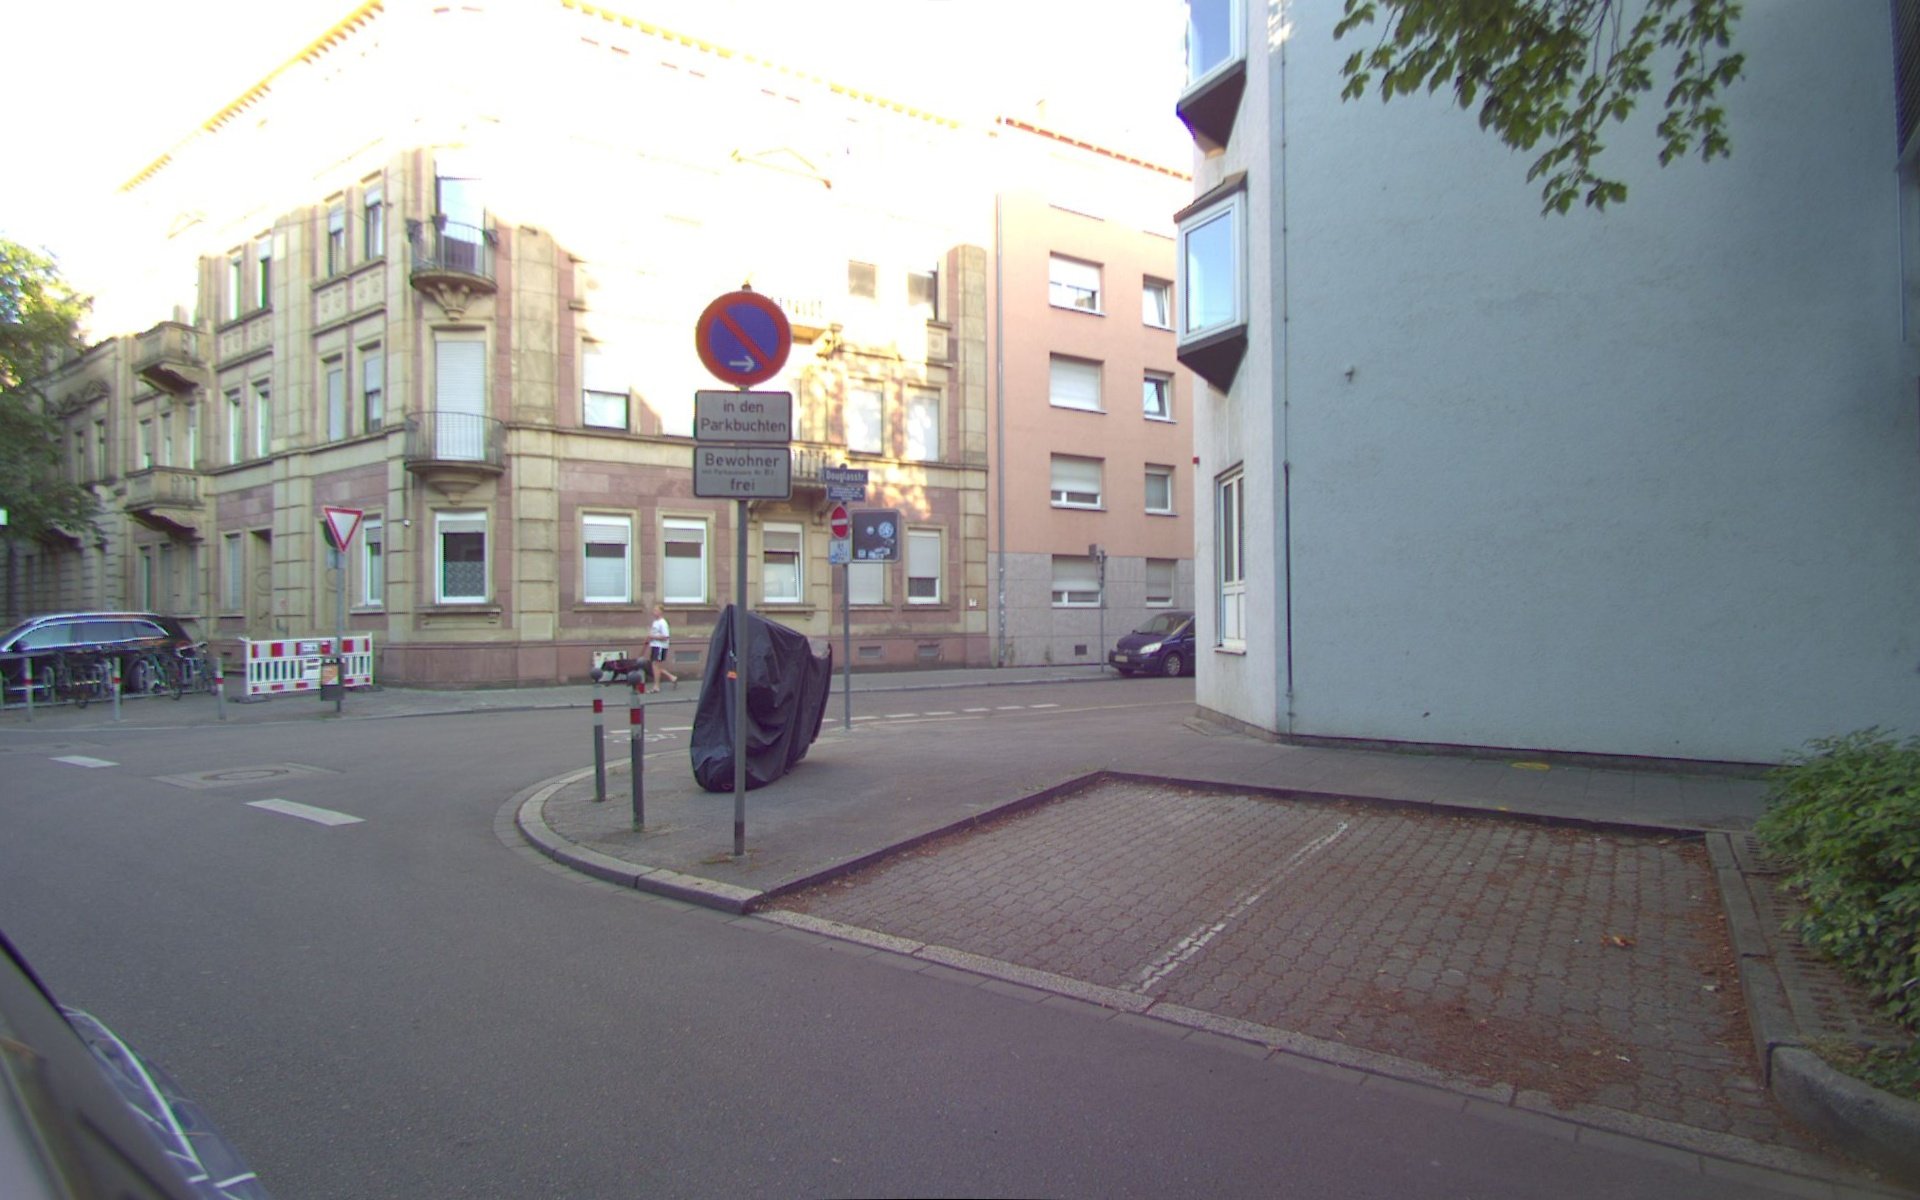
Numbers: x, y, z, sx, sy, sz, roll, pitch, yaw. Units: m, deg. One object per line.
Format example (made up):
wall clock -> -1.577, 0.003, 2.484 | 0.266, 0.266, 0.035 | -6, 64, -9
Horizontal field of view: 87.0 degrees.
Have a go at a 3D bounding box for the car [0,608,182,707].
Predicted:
car -> -17.891, 1.072, 19.462 | 1.740, 1.795, 4.367 | -1, -2, 39

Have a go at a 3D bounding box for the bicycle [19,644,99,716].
bicycle -> -15.616, 1.352, 17.522 | 2.034, 1.159, 0.555 | -1, -1, 34

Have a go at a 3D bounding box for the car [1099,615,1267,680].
car -> 5.746, 1.162, 25.850 | 4.297, 1.529, 1.789 | 1, -2, -36

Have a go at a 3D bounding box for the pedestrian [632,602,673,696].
pedestrian -> -6.089, 0.958, 20.023 | 0.640, 1.821, 0.575 | 0, -2, -31

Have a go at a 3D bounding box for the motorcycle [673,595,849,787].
motorcycle -> -1.717, 0.742, 9.200 | 0.809, 1.516, 2.276 | -1, -1, 10

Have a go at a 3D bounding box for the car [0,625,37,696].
car -> -24.296, 1.432, 23.391 | 1.740, 1.690, 4.190 | -1, -2, 39

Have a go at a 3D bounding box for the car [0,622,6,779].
car -> -9.544, 0.894, 7.163 | 1.686, 1.453, 4.441 | 0, -1, -5

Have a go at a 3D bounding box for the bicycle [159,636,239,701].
bicycle -> -14.437, 1.269, 19.183 | 2.033, 1.159, 0.556 | -1, -1, 33

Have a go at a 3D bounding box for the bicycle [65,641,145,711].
bicycle -> -15.263, 1.328, 18.052 | 2.034, 1.159, 0.555 | -1, -1, 34

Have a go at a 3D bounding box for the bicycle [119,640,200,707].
bicycle -> -14.791, 1.330, 18.680 | 2.033, 1.159, 0.556 | -1, -1, 33
